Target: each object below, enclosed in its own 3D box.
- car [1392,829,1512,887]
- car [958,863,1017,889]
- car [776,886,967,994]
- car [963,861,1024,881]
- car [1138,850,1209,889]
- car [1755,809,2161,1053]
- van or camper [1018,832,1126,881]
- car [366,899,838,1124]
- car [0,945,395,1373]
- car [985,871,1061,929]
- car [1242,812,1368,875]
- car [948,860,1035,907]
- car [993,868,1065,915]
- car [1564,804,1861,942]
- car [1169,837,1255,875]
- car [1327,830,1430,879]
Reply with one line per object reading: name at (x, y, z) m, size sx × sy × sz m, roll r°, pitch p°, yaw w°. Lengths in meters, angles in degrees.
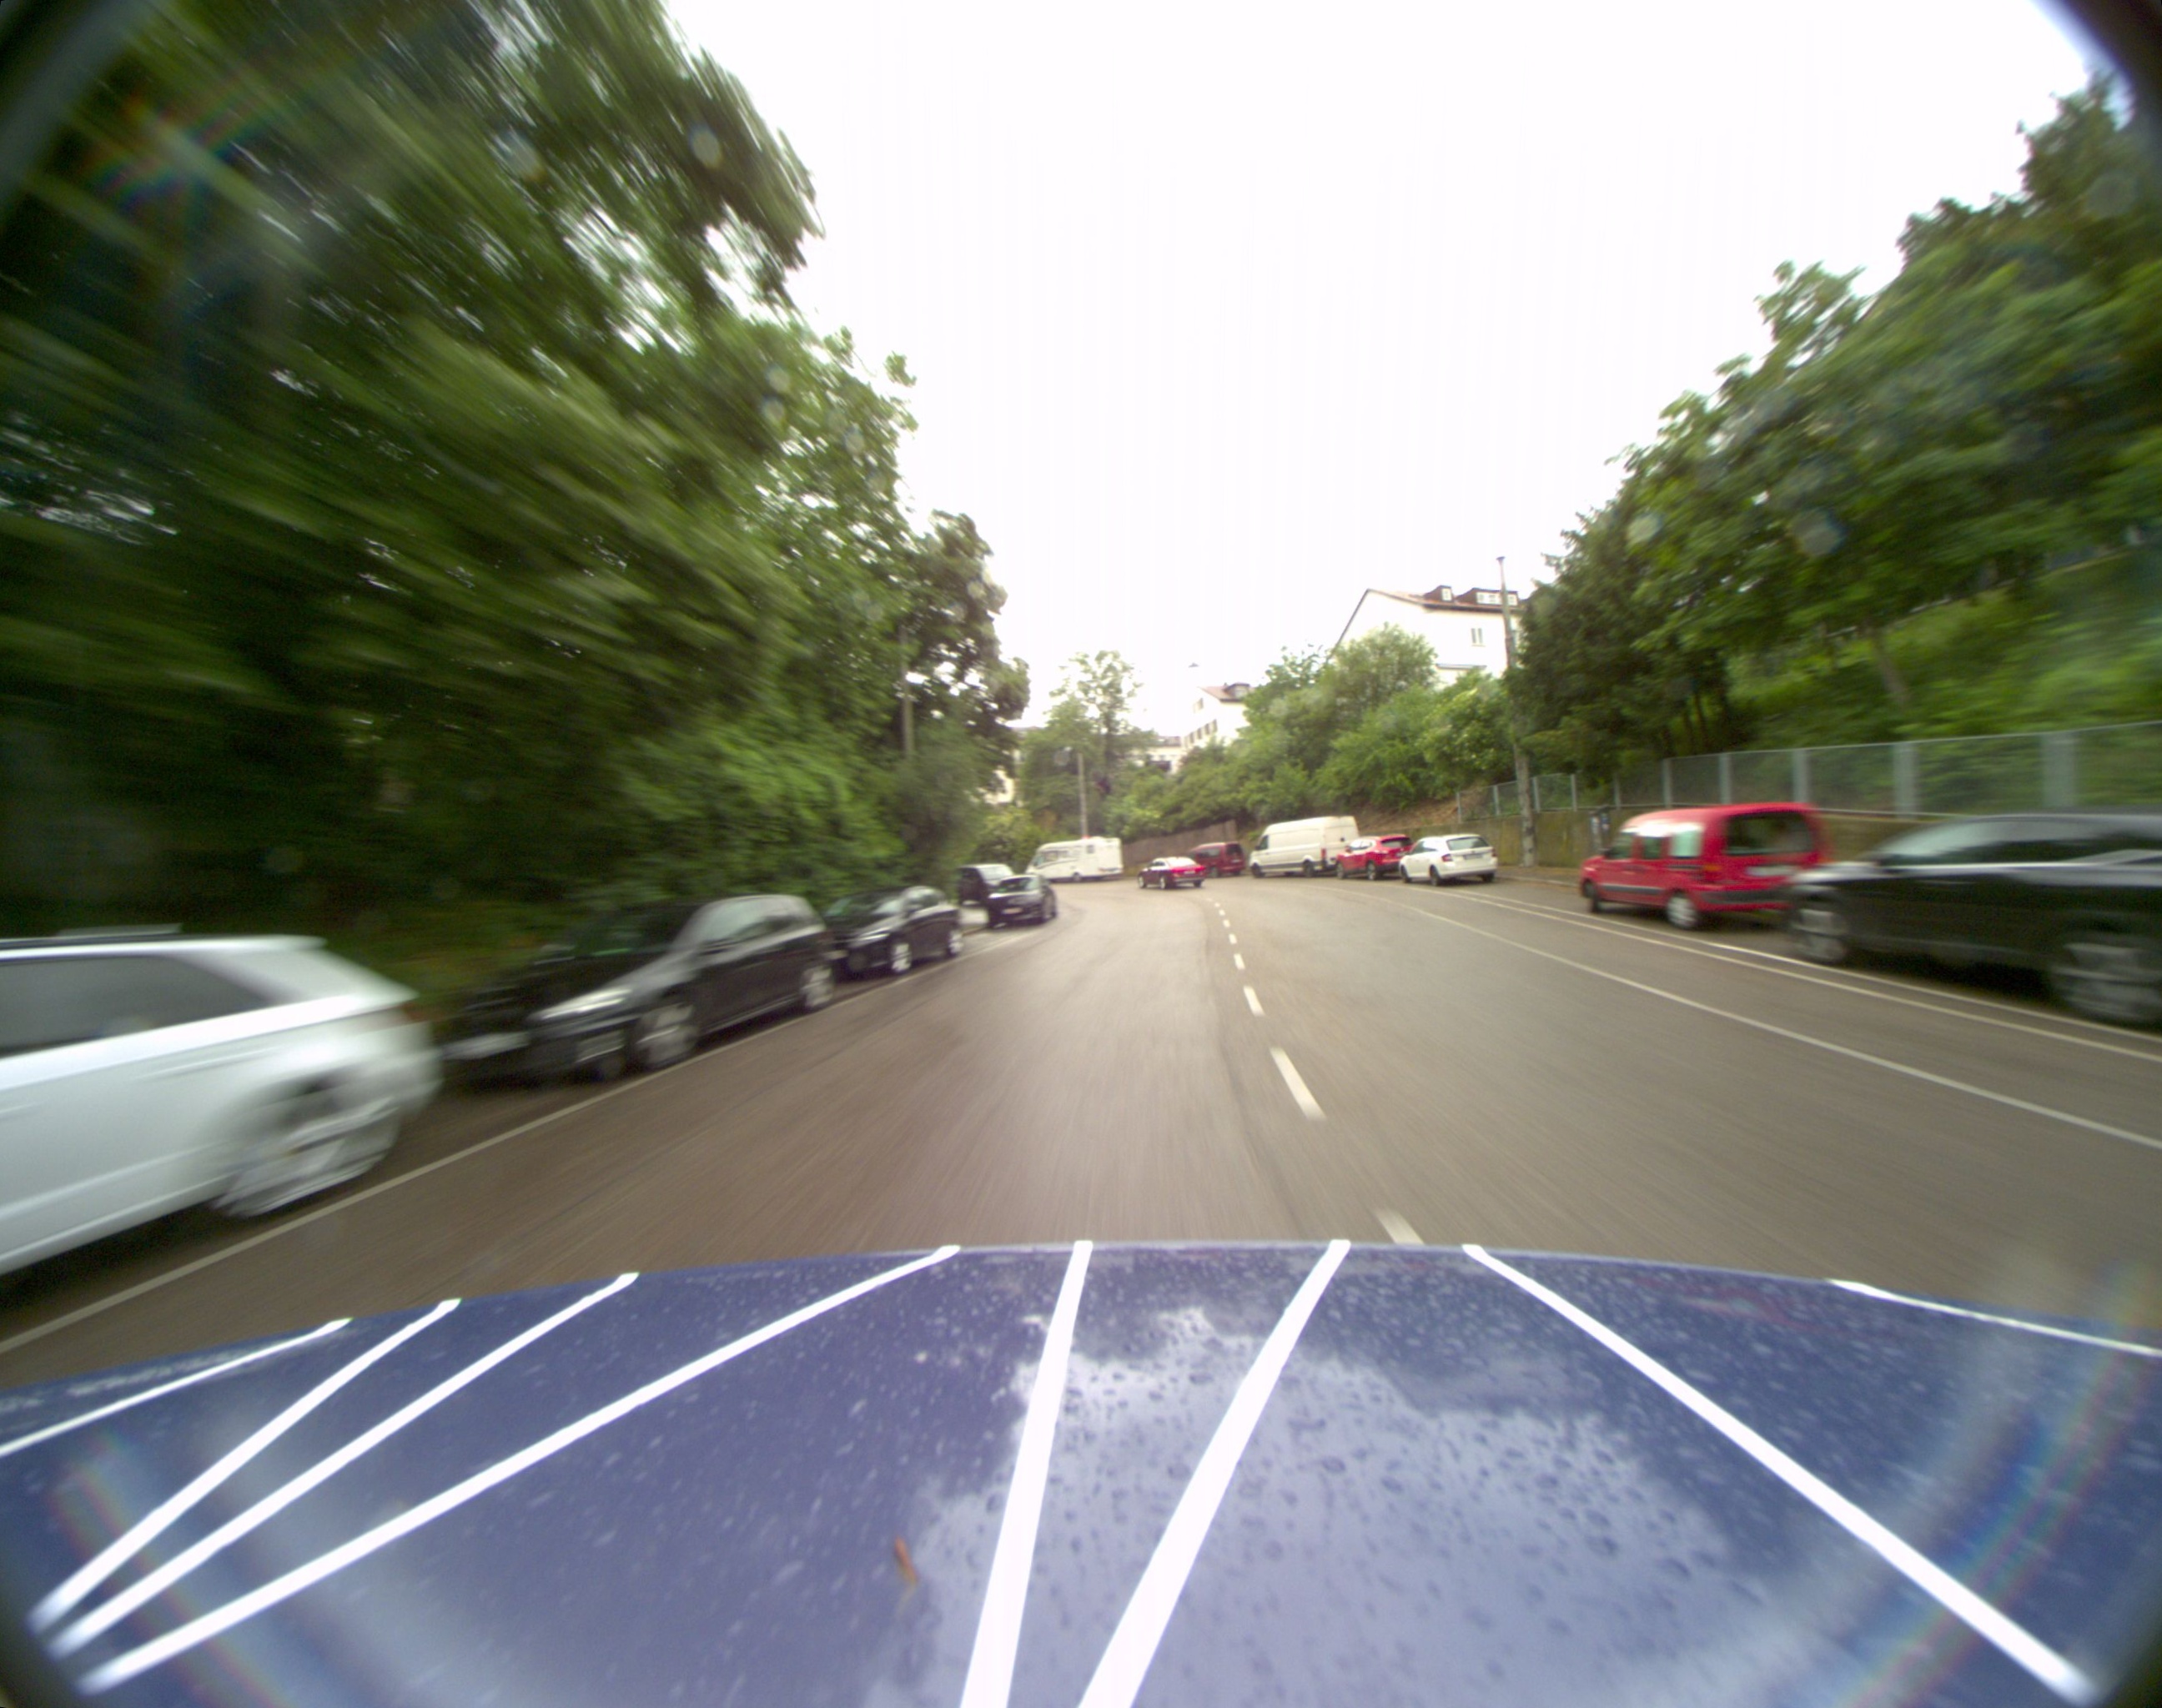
car at (11.318, 0.106, 23.530) m, size 1.742 × 1.470 × 4.199 m, roll -6°, pitch 0°, yaw 4°
car at (-6.204, 1.446, 50.222) m, size 4.023 × 1.486 × 1.610 m, roll -5°, pitch -2°, yaw 44°
car at (-3.460, 1.385, 13.321) m, size 1.593 × 1.381 × 3.825 m, roll -5°, pitch -1°, yaw 11°
car at (-6.538, 1.266, 56.654) m, size 4.121 × 1.403 × 1.919 m, roll -2°, pitch 0°, yaw 31°
car at (4.328, 0.686, 36.197) m, size 1.874 × 1.508 × 4.478 m, roll -6°, pitch 2°, yaw -12°
car at (8.648, 0.469, 6.653) m, size 1.997 × 1.610 × 4.399 m, roll -3°, pitch 1°, yaw 9°
van or camper at (-0.706, 0.231, 52.254) m, size 7.506 × 2.950 × 2.463 m, roll -3°, pitch 1°, yaw 41°
car at (-4.144, 1.275, 7.476) m, size 1.663 × 1.415 × 3.972 m, roll -4°, pitch -2°, yaw 9°
car at (-4.852, 1.215, 2.233) m, size 1.759 × 1.392 × 4.097 m, roll -3°, pitch -1°, yaw 3°
car at (-1.757, 1.393, 24.082) m, size 1.630 × 1.479 × 3.746 m, roll -6°, pitch -1°, yaw 5°
car at (10.208, -0.357, 35.457) m, size 2.042 × 2.516 × 6.814 m, roll -5°, pitch 0°, yaw -17°
car at (-4.304, 1.353, 35.754) m, size 2.002 × 1.876 × 5.025 m, roll -6°, pitch 2°, yaw -31°
car at (-2.141, 1.396, 30.072) m, size 1.908 × 1.479 × 4.869 m, roll -6°, pitch 1°, yaw -14°
car at (9.715, 0.202, 12.196) m, size 1.753 × 1.758 × 4.138 m, roll -3°, pitch 1°, yaw 9°
car at (7.388, 0.165, 43.273) m, size 2.003 × 1.865 × 4.811 m, roll -5°, pitch 1°, yaw -33°
car at (11.246, 0.039, 29.093) m, size 1.780 × 1.576 × 4.431 m, roll -5°, pitch 0°, yaw -5°
